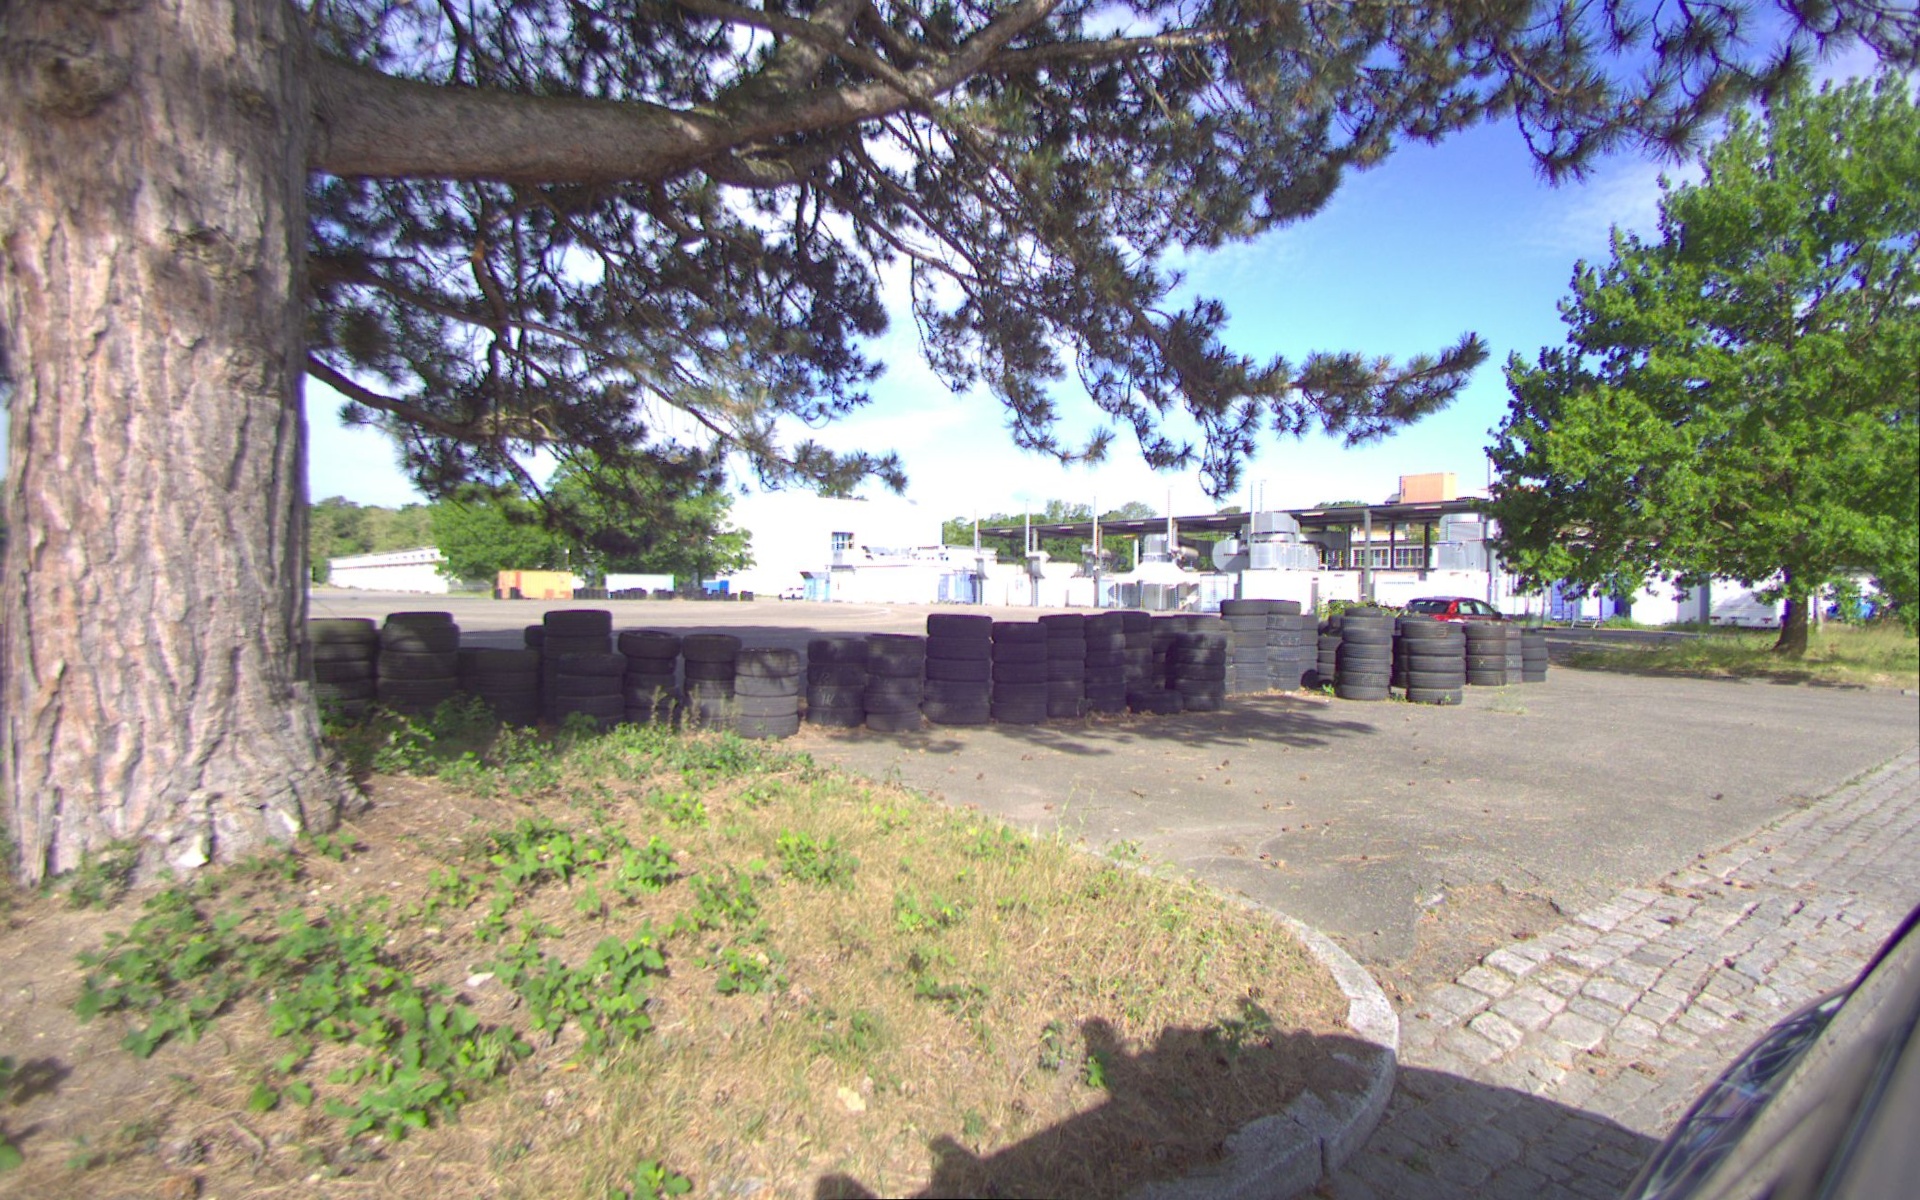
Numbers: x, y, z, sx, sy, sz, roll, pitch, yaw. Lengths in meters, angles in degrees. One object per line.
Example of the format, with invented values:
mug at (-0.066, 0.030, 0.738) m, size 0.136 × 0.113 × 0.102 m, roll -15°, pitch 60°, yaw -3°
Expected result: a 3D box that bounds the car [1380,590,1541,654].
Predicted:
car at (12.478, 0.498, 25.169) m, size 3.922 × 1.467 × 1.849 m, roll 0°, pitch 1°, yaw -33°
